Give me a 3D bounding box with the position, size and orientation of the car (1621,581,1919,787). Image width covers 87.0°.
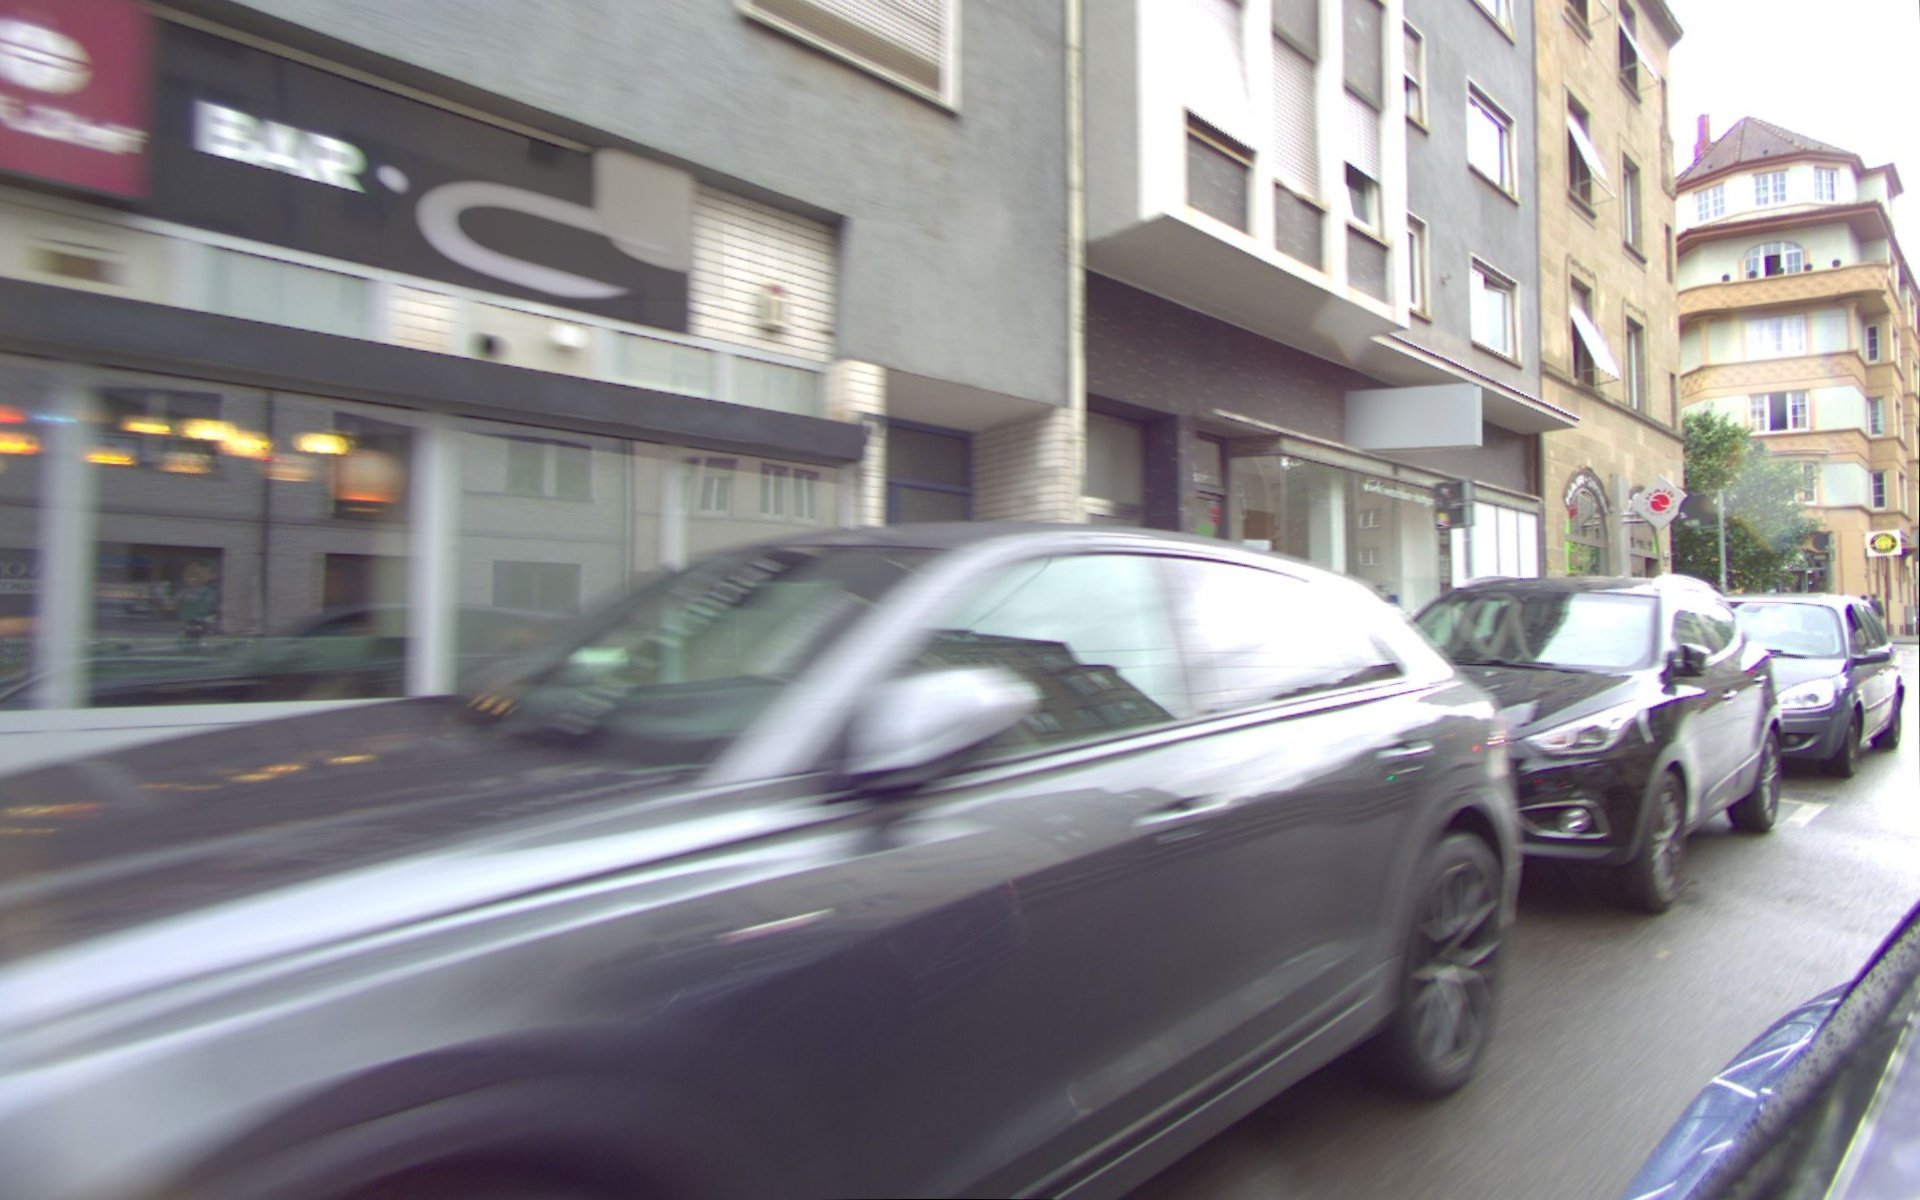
[{"bbox_3d":[8.332,0.653,10.196,4.441,1.634,1.713,0,1,-42],"label":"car"}]

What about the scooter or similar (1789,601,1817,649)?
[{"bbox_3d":[21.460,0.621,25.755,0.422,1.193,1.431,-1,-1,44],"label":"scooter or similar"}]

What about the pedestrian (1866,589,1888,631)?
[{"bbox_3d":[35.342,0.373,39.014,0.390,1.592,0.578,0,-1,-42],"label":"pedestrian"}]

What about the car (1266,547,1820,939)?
[{"bbox_3d":[3.881,0.591,6.405,4.177,1.675,1.821,0,1,-42],"label":"car"}]

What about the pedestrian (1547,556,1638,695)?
[{"bbox_3d":[8.756,0.336,14.012,0.832,1.840,0.851,0,0,-41],"label":"pedestrian"}]

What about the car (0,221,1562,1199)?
[{"bbox_3d":[-0.180,0.569,2.672,4.488,1.783,1.795,0,-1,-42],"label":"car"}]

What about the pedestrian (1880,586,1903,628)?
[{"bbox_3d":[35.398,0.260,38.465,0.430,1.592,0.578,0,-1,-42],"label":"pedestrian"}]
